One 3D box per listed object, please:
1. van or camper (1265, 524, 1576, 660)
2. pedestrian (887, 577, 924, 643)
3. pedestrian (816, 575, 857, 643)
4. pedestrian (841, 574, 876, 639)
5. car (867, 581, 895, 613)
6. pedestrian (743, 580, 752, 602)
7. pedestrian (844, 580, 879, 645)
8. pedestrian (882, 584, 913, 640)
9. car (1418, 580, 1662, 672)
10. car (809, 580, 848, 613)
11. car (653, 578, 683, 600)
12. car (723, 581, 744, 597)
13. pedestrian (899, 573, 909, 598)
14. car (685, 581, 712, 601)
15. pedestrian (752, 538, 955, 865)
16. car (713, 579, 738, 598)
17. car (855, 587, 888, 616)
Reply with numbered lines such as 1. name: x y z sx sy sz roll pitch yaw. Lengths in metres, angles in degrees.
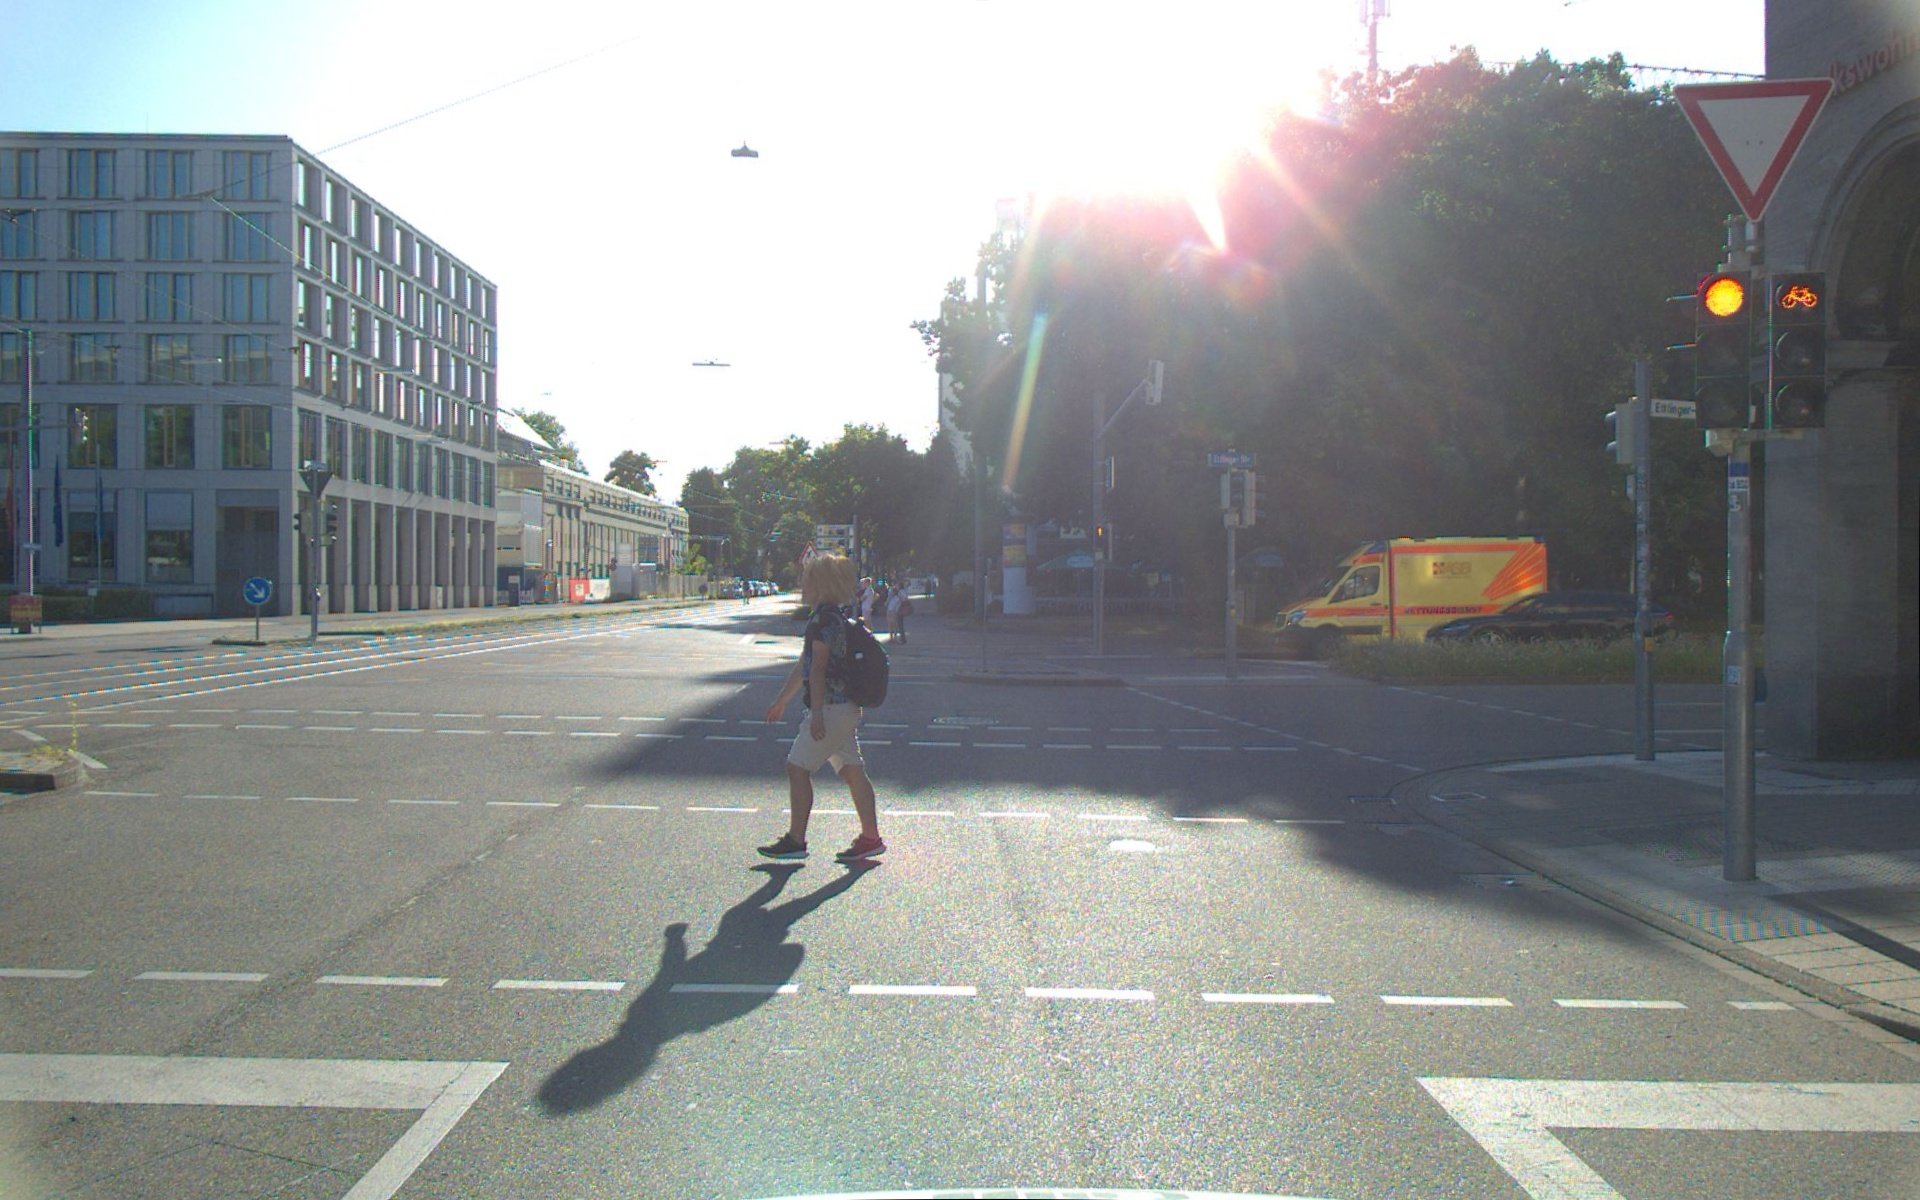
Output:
1. van or camper: 10.697 -0.183 38.966 6.568 2.911 2.912 2 -1 4
2. pedestrian: -1.517 0.282 45.973 0.834 1.815 0.776 0 0 -17
3. pedestrian: -3.368 0.244 44.978 0.950 1.815 0.776 0 0 -17
4. pedestrian: -2.911 0.180 47.370 0.834 1.815 0.776 0 0 -17
5. car: -5.151 -0.158 107.891 1.650 1.996 3.508 2 -1 -1
6. pedestrian: -14.454 -0.612 112.522 0.513 1.510 0.437 2 -1 -2
7. pedestrian: -2.768 0.339 46.555 0.834 1.815 0.776 0 0 -17
8. pedestrian: -1.757 0.331 46.701 0.750 1.586 0.585 0 0 -17
9. car: 11.596 0.524 33.258 4.226 1.676 1.887 2 -1 -1
10. car: -6.500 -0.144 81.900 1.650 1.527 3.508 2 -1 -1
11. car: -23.488 -0.850 133.261 1.782 1.742 3.805 0 0 -1
12. car: -21.909 -1.093 159.834 1.577 1.524 3.805 0 0 -1
13. pedestrian: -8.391 -2.205 245.980 1.373 3.660 1.567 2 -1 -1
14. car: -22.816 -0.785 144.174 1.782 1.742 3.805 0 0 -1
15. pedestrian: -0.634 0.535 9.471 1.021 1.751 1.032 0 0 -12
16. car: -22.079 -1.079 155.833 1.782 1.742 3.805 0 0 -1
17. car: -4.889 0.100 92.079 1.650 1.527 3.508 2 -1 -1
